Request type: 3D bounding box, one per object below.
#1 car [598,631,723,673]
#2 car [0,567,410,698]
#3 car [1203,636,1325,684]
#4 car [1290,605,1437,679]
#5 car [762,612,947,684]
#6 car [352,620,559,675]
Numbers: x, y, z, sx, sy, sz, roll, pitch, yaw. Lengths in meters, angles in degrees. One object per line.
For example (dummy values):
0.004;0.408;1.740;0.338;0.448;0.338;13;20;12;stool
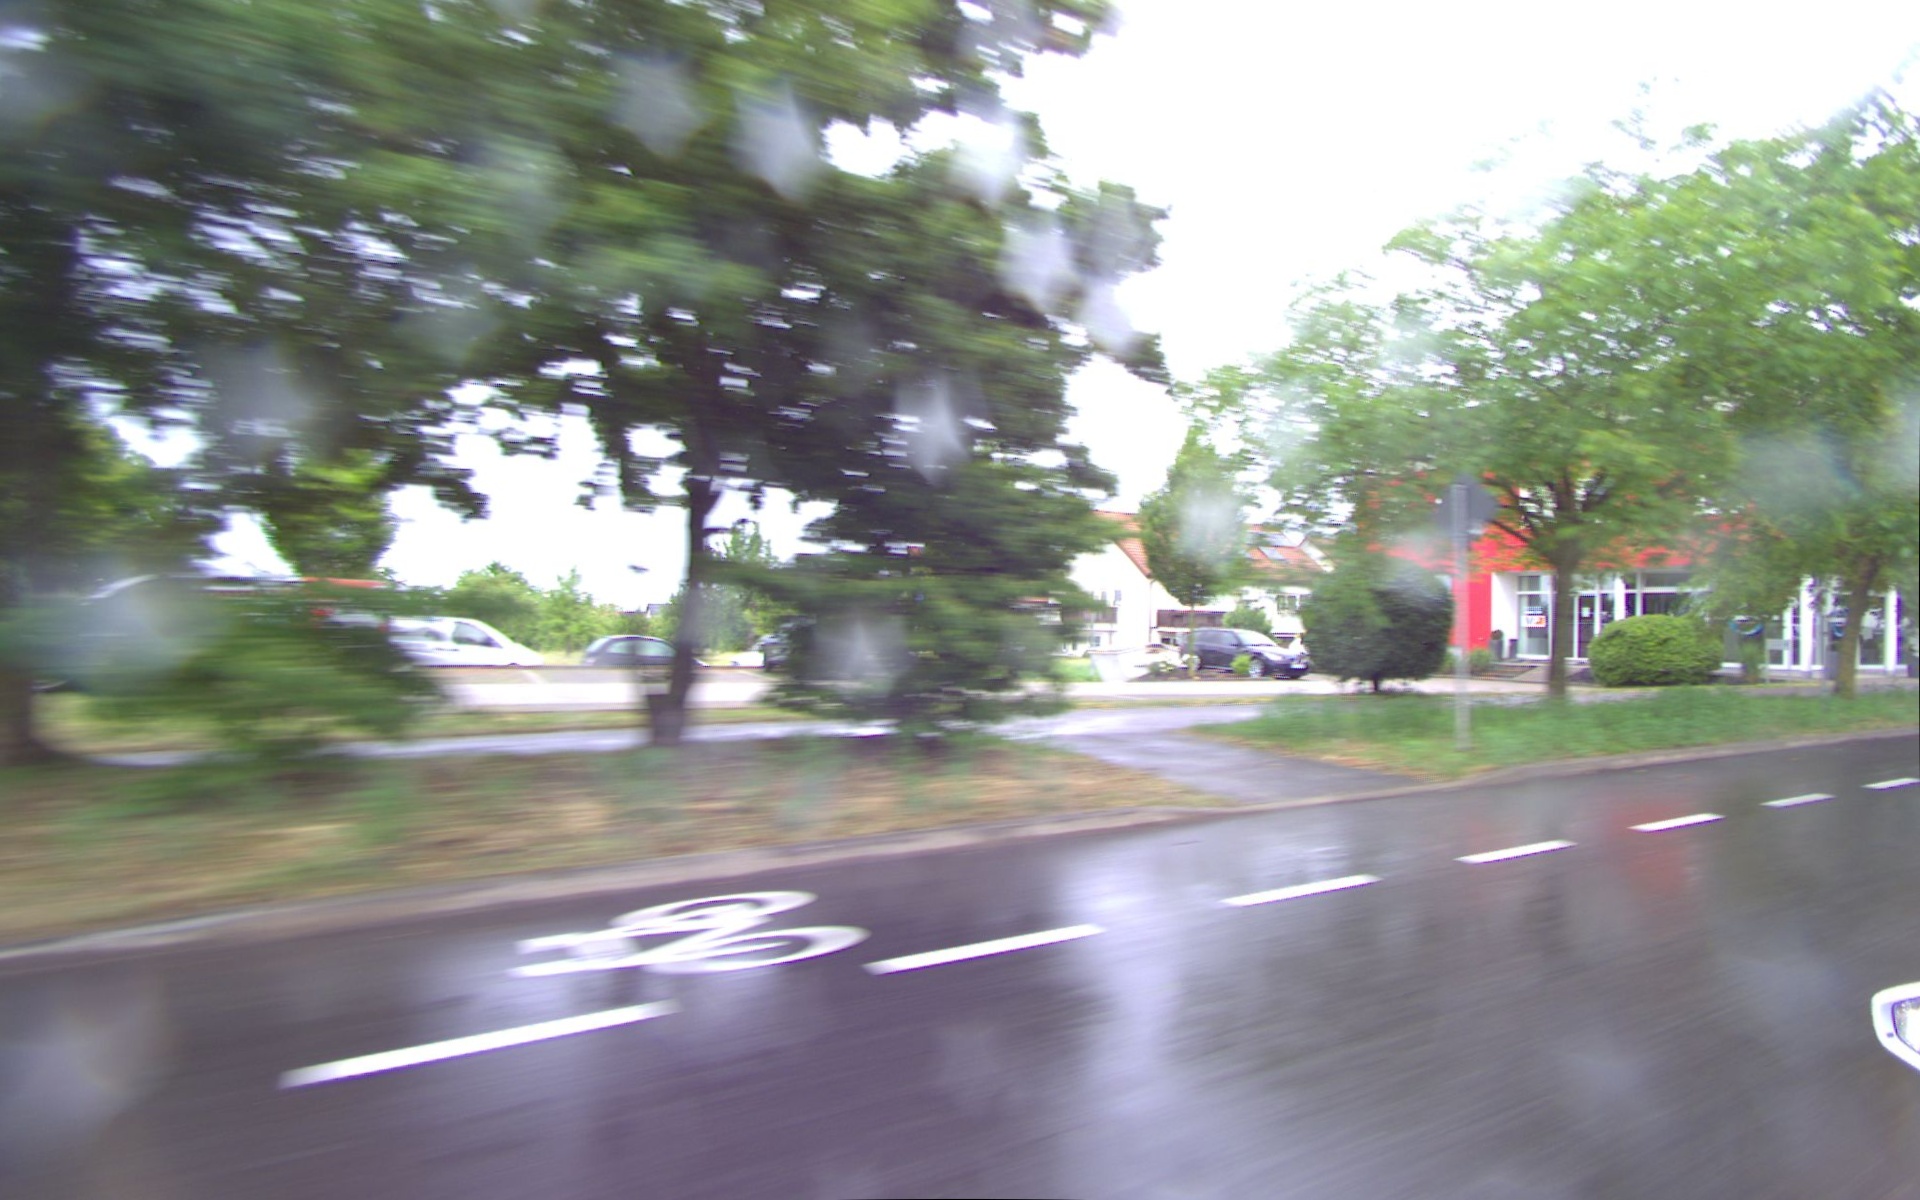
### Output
-8.357;1.427;28.092;3.135;1.038;1.347;1;0;-30;car
-12.136;0.472;16.267;5.549;1.847;2.021;1;0;-33;car
9.469;1.841;31.468;1.686;1.261;3.381;0;0;-32;car
13.945;1.377;34.982;2.156;2.341;4.462;0;0;-26;car
-2.562;1.110;24.919;4.133;1.577;2.096;1;0;-41;car
-12.897;1.159;25.828;4.601;1.246;1.972;1;0;-30;car
